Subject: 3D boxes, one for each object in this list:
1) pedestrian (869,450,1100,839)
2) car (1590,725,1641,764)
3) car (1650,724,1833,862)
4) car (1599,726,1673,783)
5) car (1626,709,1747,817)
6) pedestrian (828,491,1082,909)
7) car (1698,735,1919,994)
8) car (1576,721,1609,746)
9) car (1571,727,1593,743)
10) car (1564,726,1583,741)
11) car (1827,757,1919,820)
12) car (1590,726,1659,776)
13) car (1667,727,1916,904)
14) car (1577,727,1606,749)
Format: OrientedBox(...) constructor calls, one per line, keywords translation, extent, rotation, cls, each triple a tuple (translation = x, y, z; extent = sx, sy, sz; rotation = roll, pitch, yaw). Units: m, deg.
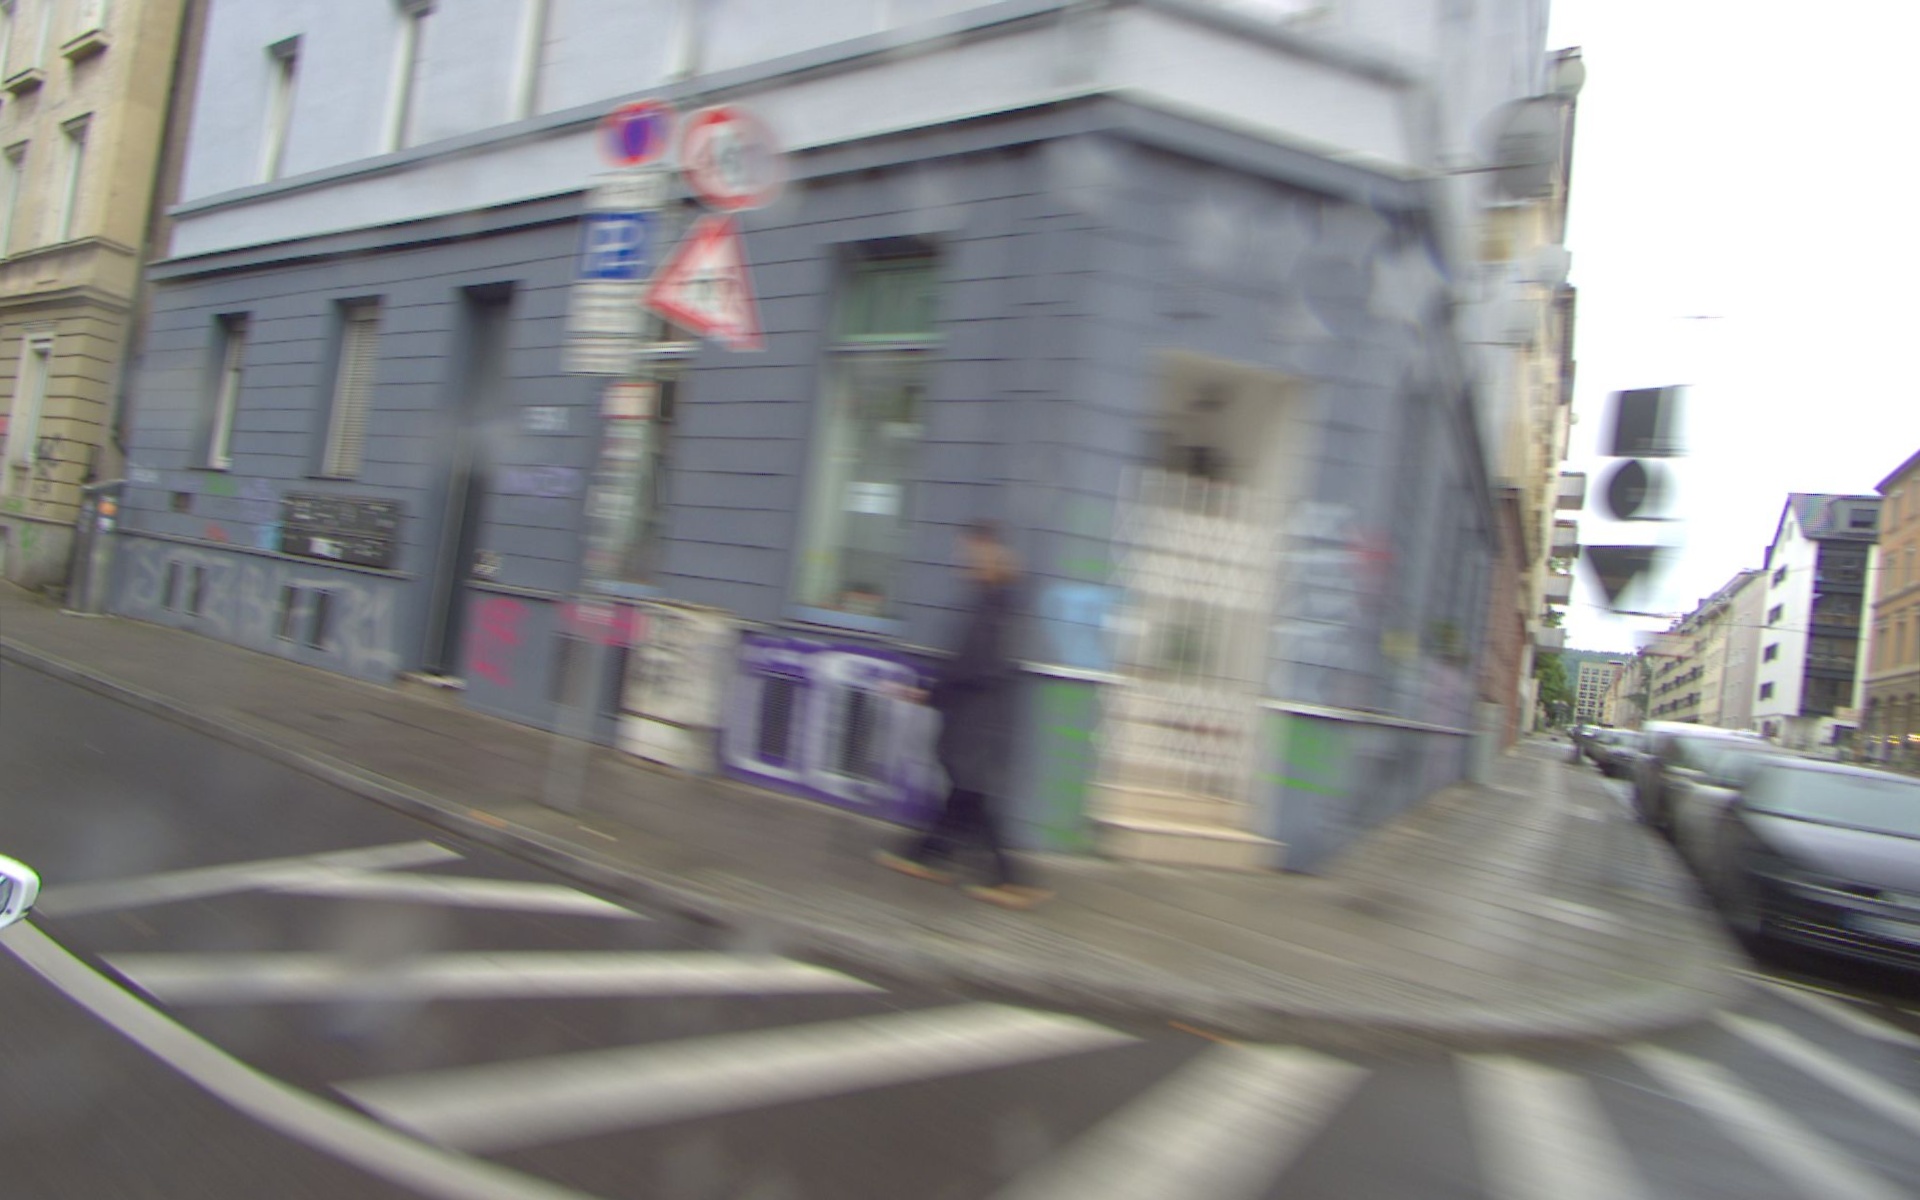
OrientedBox(translation=(0.159, 0.240, 5.787), extent=(0.807, 2.036, 0.738), rotation=(7, -2, 31), cls="pedestrian")
OrientedBox(translation=(30.520, 6.718, 46.861), extent=(1.758, 1.462, 4.218), rotation=(7, -2, 34), cls="car")
OrientedBox(translation=(11.867, 2.844, 15.528), extent=(1.758, 1.548, 3.993), rotation=(7, -2, 34), cls="car")
OrientedBox(translation=(22.120, 5.019, 32.991), extent=(1.758, 1.462, 4.218), rotation=(7, -2, 34), cls="car")
OrientedBox(translation=(15.670, 3.471, 21.890), extent=(1.758, 1.844, 4.218), rotation=(7, -2, 34), cls="car")
OrientedBox(translation=(-0.015, 0.465, 5.059), extent=(0.807, 1.873, 0.663), rotation=(7, -2, 31), cls="pedestrian")
OrientedBox(translation=(7.061, 1.917, 7.831), extent=(1.758, 1.447, 3.993), rotation=(7, -2, 34), cls="car")
OrientedBox(translation=(44.376, 9.349, 70.516), extent=(1.758, 1.462, 4.218), rotation=(7, -2, 34), cls="car")
OrientedBox(translation=(68.053, 14.782, 110.110), extent=(1.757, 1.462, 4.221), rotation=(7, -2, 31), cls="car")
OrientedBox(translation=(75.782, 16.498, 124.387), extent=(1.757, 1.462, 4.221), rotation=(7, -2, 31), cls="car")
OrientedBox(translation=(28.255, 5.753, 30.681), extent=(1.756, 1.446, 4.428), rotation=(7, -2, 29), cls="car")
OrientedBox(translation=(24.957, 5.630, 37.898), extent=(1.757, 1.462, 4.221), rotation=(7, -2, 31), cls="car")
OrientedBox(translation=(9.721, 2.411, 12.068), extent=(1.758, 1.488, 3.725), rotation=(7, -2, 34), cls="car")
OrientedBox(translation=(52.009, 11.358, 82.916), extent=(1.757, 1.462, 4.221), rotation=(7, -2, 31), cls="car")
